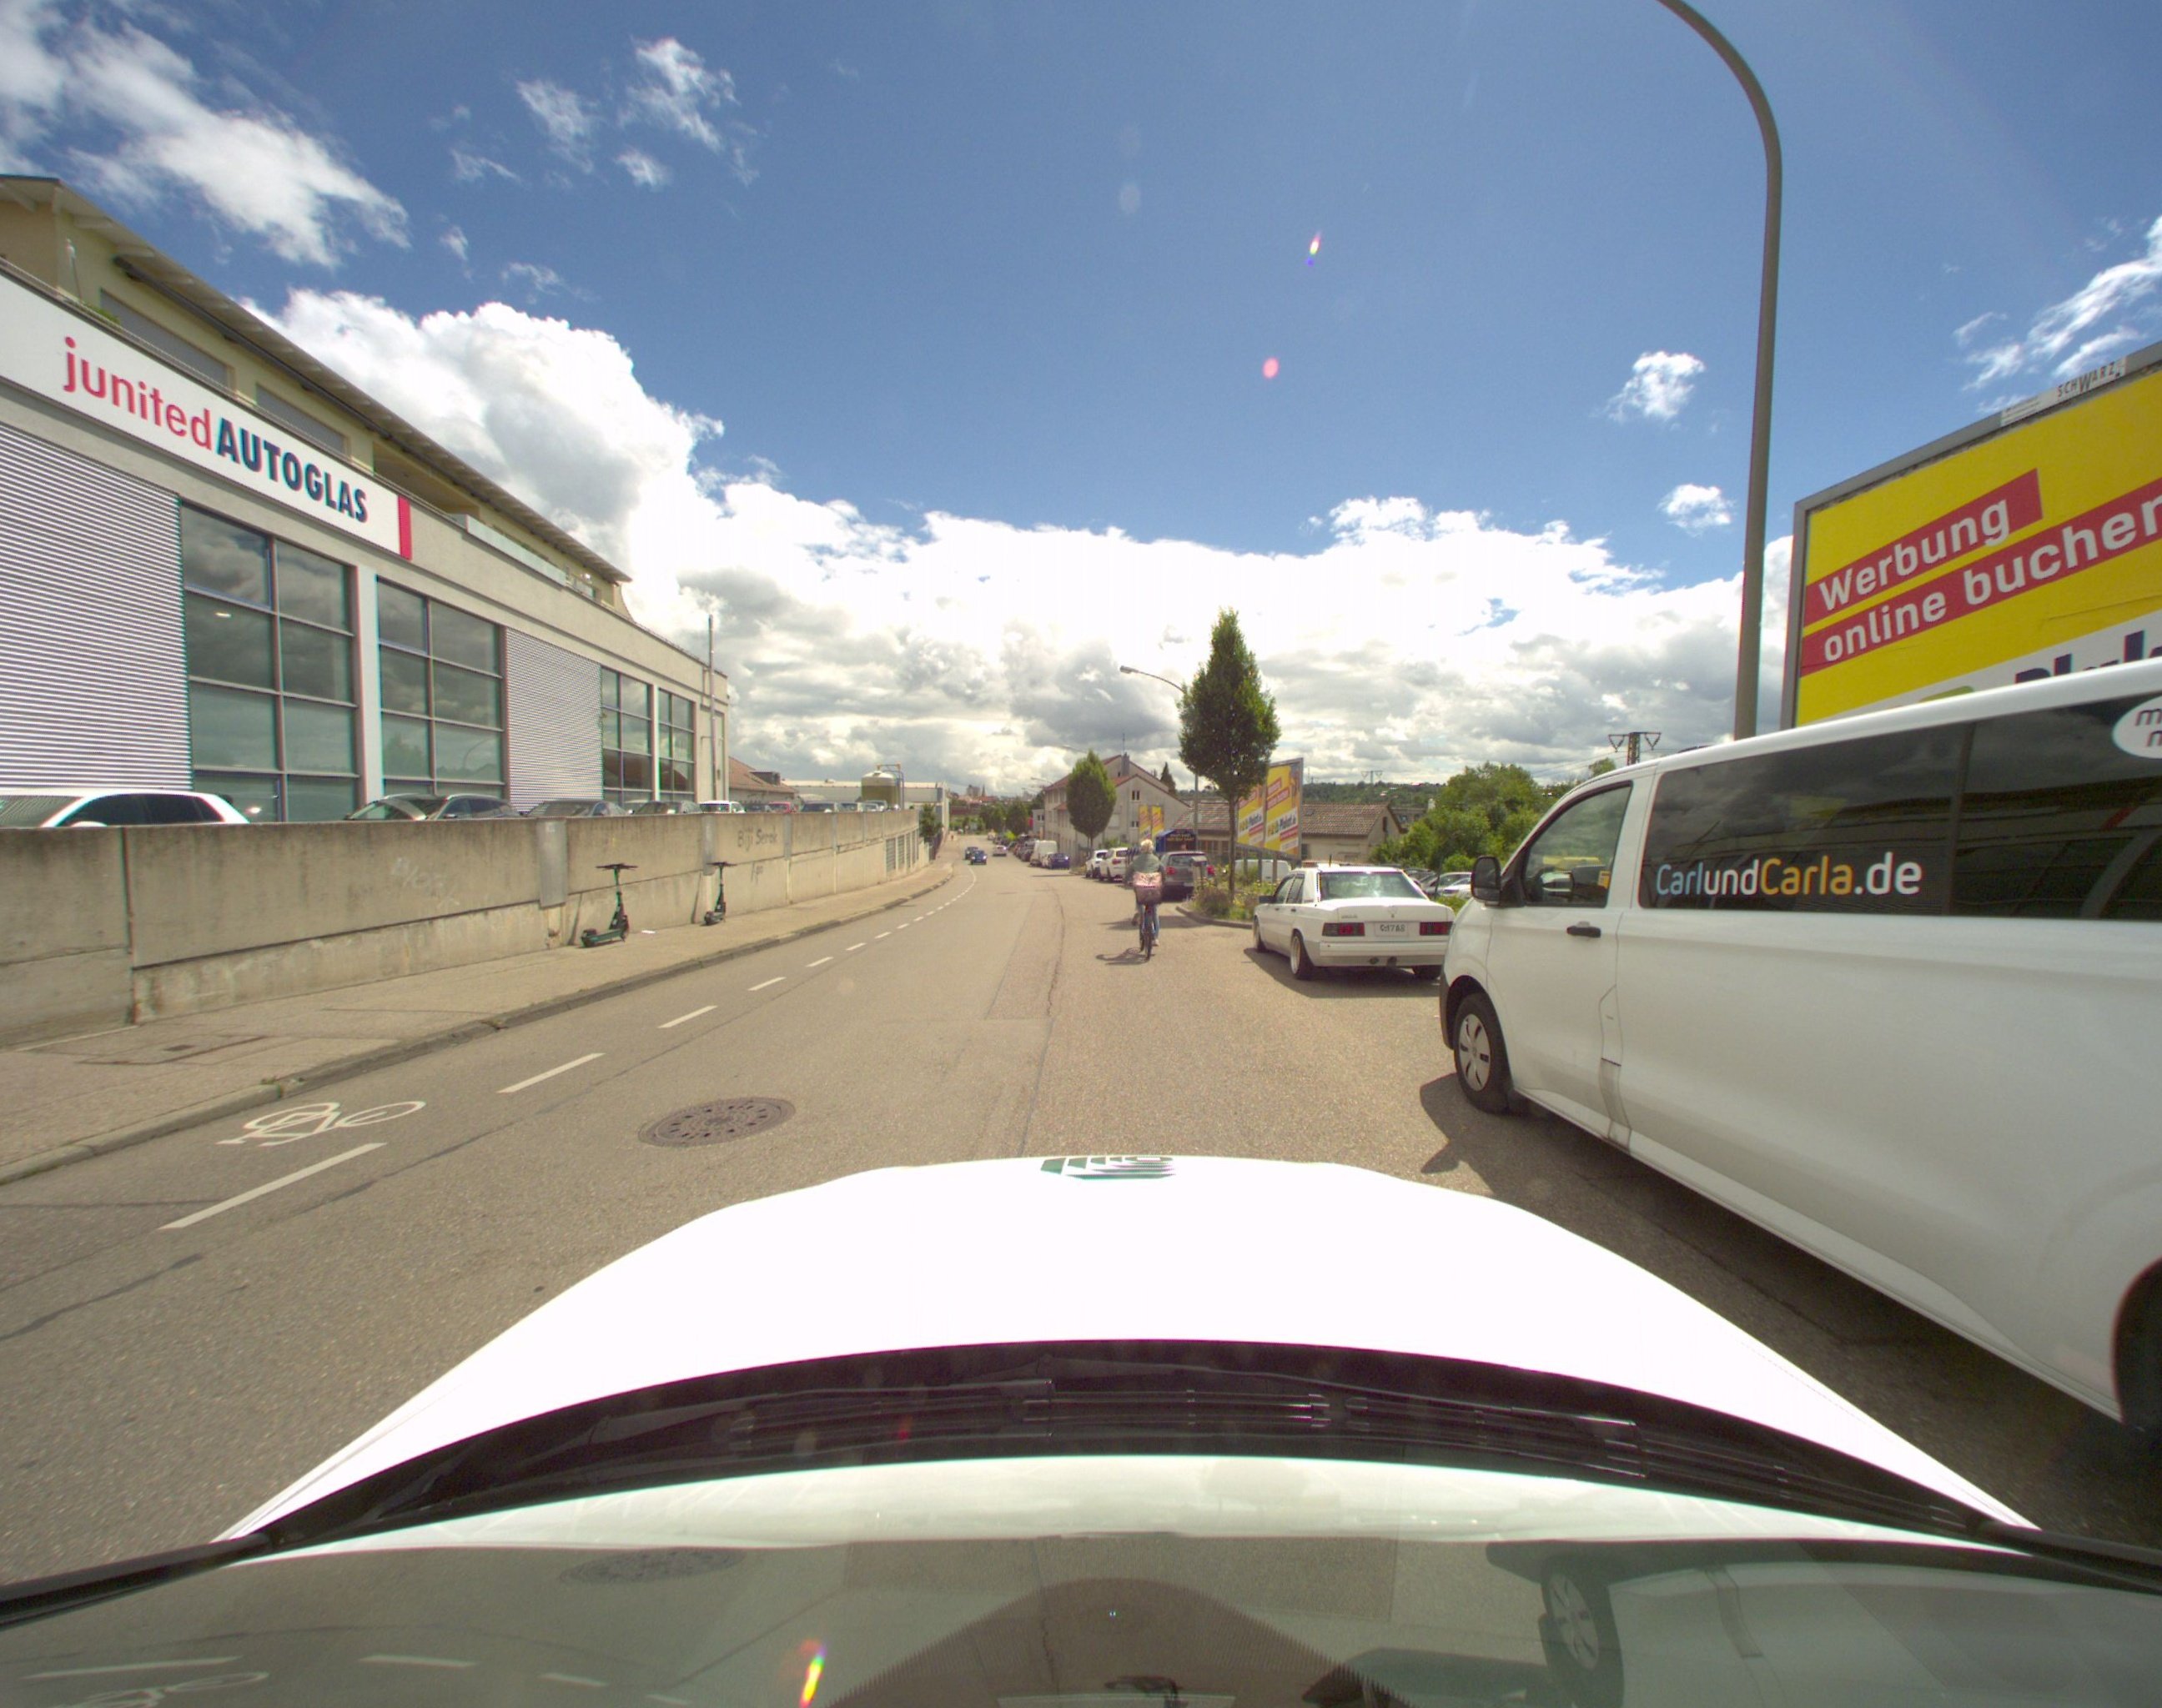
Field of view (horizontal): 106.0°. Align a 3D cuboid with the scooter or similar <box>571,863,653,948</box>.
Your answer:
[{"bbox_3d":[-7.492,0.789,13.060,0.555,1.276,1.305,0,0,0],"label":"scooter or similar"}]

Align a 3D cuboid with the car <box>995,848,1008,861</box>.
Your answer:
[{"bbox_3d":[-10.933,0.069,112.097,1.566,1.786,3.594,0,0,-9],"label":"car"}]

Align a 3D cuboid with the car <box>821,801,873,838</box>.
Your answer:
[{"bbox_3d":[-11.401,-1.625,39.869,1.804,1.636,4.094,0,0,-7],"label":"car"}]

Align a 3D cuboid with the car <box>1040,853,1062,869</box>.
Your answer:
[{"bbox_3d":[-2.867,0.655,77.291,1.593,1.510,3.777,0,0,-10],"label":"car"}]

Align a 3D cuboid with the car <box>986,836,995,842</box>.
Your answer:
[{"bbox_3d":[-24.153,-3.942,217.292,1.703,1.527,3.723,3,1,-13],"label":"car"}]

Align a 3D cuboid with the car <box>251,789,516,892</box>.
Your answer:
[{"bbox_3d":[-12.592,-0.206,15.116,1.805,1.636,4.101,0,0,-9],"label":"car"}]

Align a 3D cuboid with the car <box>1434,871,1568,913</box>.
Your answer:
[{"bbox_3d":[16.759,1.504,32.703,4.419,1.554,2.006,-1,0,10],"label":"car"}]

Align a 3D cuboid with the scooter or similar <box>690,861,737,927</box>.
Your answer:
[{"bbox_3d":[-7.583,0.803,16.848,0.519,1.276,1.379,2,-1,-10],"label":"scooter or similar"}]

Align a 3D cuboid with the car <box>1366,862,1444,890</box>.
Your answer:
[{"bbox_3d":[18.008,1.220,45.386,3.956,1.390,1.605,-2,0,19],"label":"car"}]

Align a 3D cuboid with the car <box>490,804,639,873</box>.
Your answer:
[{"bbox_3d":[-13.458,-0.375,21.531,1.805,1.636,4.101,0,0,-9],"label":"car"}]

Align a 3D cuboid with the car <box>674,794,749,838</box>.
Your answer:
[{"bbox_3d":[-15.482,-1.556,34.363,1.805,1.636,4.101,0,0,-9],"label":"car"}]

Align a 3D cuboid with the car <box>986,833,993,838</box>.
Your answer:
[{"bbox_3d":[-25.615,-5.147,227.975,1.700,1.527,3.729,0,2,-7],"label":"car"}]

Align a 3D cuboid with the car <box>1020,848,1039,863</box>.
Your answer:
[{"bbox_3d":[-6.342,0.187,99.430,1.704,1.509,5.071,2,2,-10],"label":"car"}]

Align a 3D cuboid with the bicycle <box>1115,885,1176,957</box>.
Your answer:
[{"bbox_3d":[0.941,0.973,12.295,0.738,0.975,1.731,0,-1,-2],"label":"bicycle"}]

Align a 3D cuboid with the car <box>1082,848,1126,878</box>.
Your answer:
[{"bbox_3d":[1.242,0.475,46.234,1.840,1.565,4.456,-2,0,-6],"label":"car"}]

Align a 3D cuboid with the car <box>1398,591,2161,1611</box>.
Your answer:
[{"bbox_3d":[3.184,0.478,3.180,1.967,2.004,5.551,0,0,3],"label":"car"}]

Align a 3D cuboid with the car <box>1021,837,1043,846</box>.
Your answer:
[{"bbox_3d":[-9.260,-2.370,153.593,4.023,1.462,1.736,-1,3,43],"label":"car"}]

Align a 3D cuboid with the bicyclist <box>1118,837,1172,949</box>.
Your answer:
[{"bbox_3d":[0.951,0.573,12.276,0.737,1.626,0.731,0,0,-2],"label":"bicyclist"}]

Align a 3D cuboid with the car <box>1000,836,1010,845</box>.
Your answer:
[{"bbox_3d":[-14.876,-2.617,159.211,1.678,1.638,4.113,0,1,-7],"label":"car"}]

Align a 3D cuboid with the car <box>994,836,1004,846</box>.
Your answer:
[{"bbox_3d":[-17.608,-2.808,173.803,1.869,1.990,5.128,0,1,-9],"label":"car"}]

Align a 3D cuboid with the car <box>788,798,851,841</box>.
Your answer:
[{"bbox_3d":[-10.941,-1.408,34.376,1.804,1.636,4.094,0,0,-7],"label":"car"}]

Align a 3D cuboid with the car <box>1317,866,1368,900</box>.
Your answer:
[{"bbox_3d":[13.943,1.507,43.600,1.802,1.621,4.473,-2,0,8],"label":"car"}]

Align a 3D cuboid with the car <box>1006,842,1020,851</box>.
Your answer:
[{"bbox_3d":[-11.085,-1.282,132.897,1.791,1.465,4.692,0,1,-10],"label":"car"}]

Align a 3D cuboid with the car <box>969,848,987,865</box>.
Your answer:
[{"bbox_3d":[-11.210,0.286,88.564,1.627,1.817,3.766,-1,0,-11],"label":"car"}]

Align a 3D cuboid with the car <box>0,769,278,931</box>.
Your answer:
[{"bbox_3d":[-12.019,-0.038,9.408,1.805,1.636,4.101,0,0,-9],"label":"car"}]

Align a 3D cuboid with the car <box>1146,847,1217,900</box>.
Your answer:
[{"bbox_3d":[3.085,0.569,25.706,1.650,1.485,4.042,-2,0,-1],"label":"car"}]

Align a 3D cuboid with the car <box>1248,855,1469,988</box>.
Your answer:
[{"bbox_3d":[3.389,0.723,10.772,1.631,1.387,4.207,0,0,2],"label":"car"}]

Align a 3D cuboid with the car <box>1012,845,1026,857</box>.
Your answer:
[{"bbox_3d":[-8.889,-0.444,117.071,1.734,1.472,4.250,0,2,-8],"label":"car"}]

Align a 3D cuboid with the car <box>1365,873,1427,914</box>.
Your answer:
[{"bbox_3d":[13.050,1.588,33.958,1.683,1.446,4.166,1,0,11],"label":"car"}]

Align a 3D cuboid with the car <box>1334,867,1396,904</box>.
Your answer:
[{"bbox_3d":[13.489,1.447,38.904,1.742,1.517,4.590,-2,0,6],"label":"car"}]

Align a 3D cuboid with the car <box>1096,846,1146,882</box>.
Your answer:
[{"bbox_3d":[1.929,0.480,40.359,1.684,1.659,4.468,-1,0,-8],"label":"car"}]

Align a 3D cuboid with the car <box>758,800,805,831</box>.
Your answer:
[{"bbox_3d":[-17.508,-2.215,47.762,1.805,1.636,4.101,0,0,-9],"label":"car"}]

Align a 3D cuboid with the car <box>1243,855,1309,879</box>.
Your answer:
[{"bbox_3d":[13.291,0.867,55.659,3.992,1.390,1.755,2,3,41],"label":"car"}]

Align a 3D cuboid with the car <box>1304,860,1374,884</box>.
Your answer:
[{"bbox_3d":[16.376,1.157,51.760,3.991,1.390,1.534,-2,0,31],"label":"car"}]

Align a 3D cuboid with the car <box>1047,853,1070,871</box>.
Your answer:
[{"bbox_3d":[-2.014,0.673,72.421,1.566,1.510,4.081,0,0,-9],"label":"car"}]

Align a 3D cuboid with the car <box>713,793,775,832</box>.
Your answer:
[{"bbox_3d":[-16.175,-1.941,39.289,1.805,1.636,4.101,0,0,-9],"label":"car"}]

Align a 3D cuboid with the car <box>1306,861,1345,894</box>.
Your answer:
[{"bbox_3d":[14.617,1.377,48.927,1.738,1.684,4.694,-2,1,11],"label":"car"}]

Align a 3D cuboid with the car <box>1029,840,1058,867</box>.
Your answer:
[{"bbox_3d":[-3.891,-0.031,83.305,2.033,2.641,7.258,0,0,-10],"label":"car"}]
